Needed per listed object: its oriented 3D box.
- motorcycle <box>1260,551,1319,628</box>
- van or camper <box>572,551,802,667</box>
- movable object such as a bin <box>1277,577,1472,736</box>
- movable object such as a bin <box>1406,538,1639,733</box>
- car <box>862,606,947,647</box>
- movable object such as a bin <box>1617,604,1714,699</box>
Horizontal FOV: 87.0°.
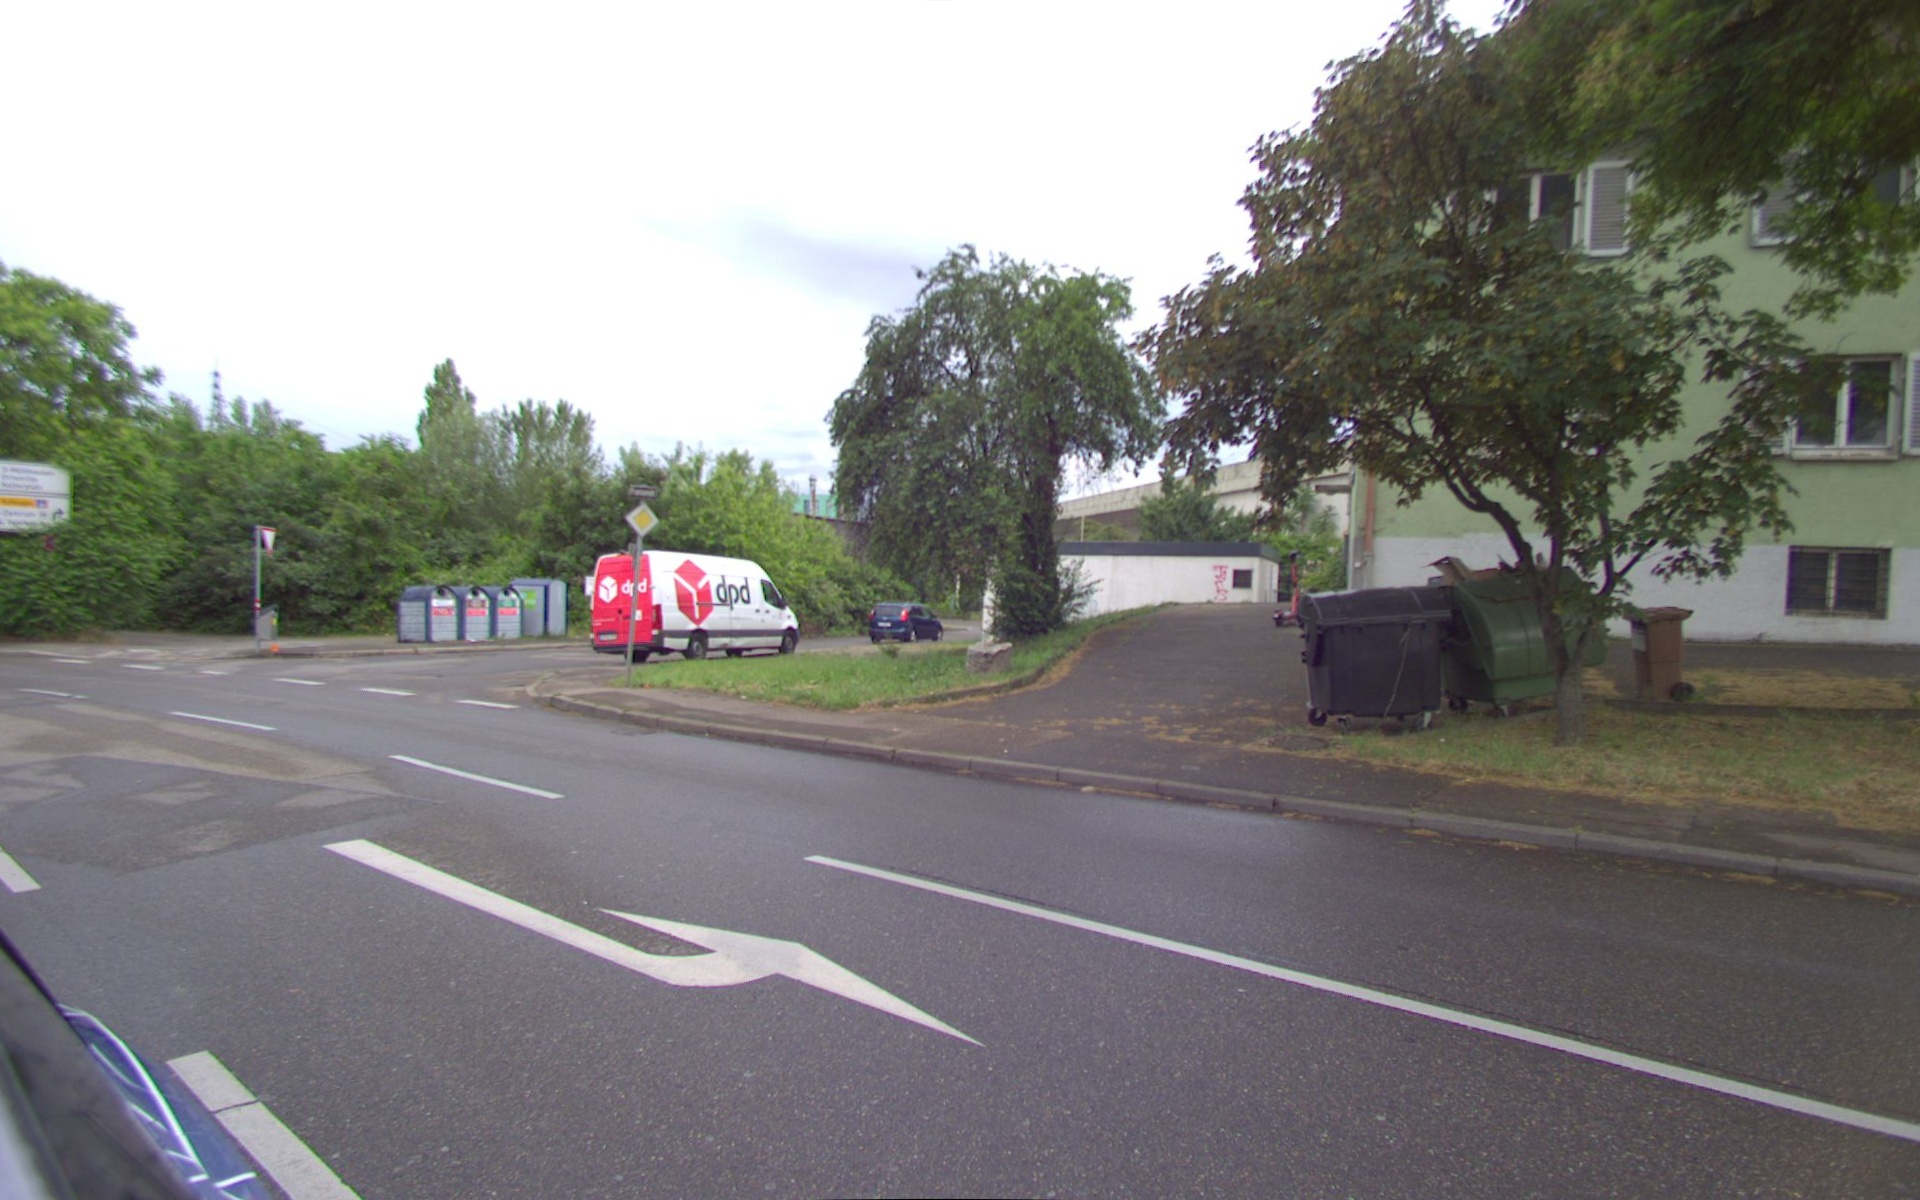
[{"bbox_3d":[5.597,-0.200,17.157,0.431,1.205,1.463,3,5,40],"label":"motorcycle"},{"bbox_3d":[-6.618,0.209,25.644,2.207,2.541,6.651,0,0,20],"label":"van or camper"},{"bbox_3d":[4.197,0.547,10.427,1.359,1.452,1.471,-3,0,3],"label":"movable object such as a bin"},{"bbox_3d":[5.678,0.343,10.388,1.434,1.774,1.577,-3,0,3],"label":"movable object such as a bin"},{"bbox_3d":[-2.167,1.022,40.369,1.985,1.541,4.042,0,0,20],"label":"car"},{"bbox_3d":[7.187,0.516,10.330,0.555,0.917,0.541,-3,0,3],"label":"movable object such as a bin"}]
